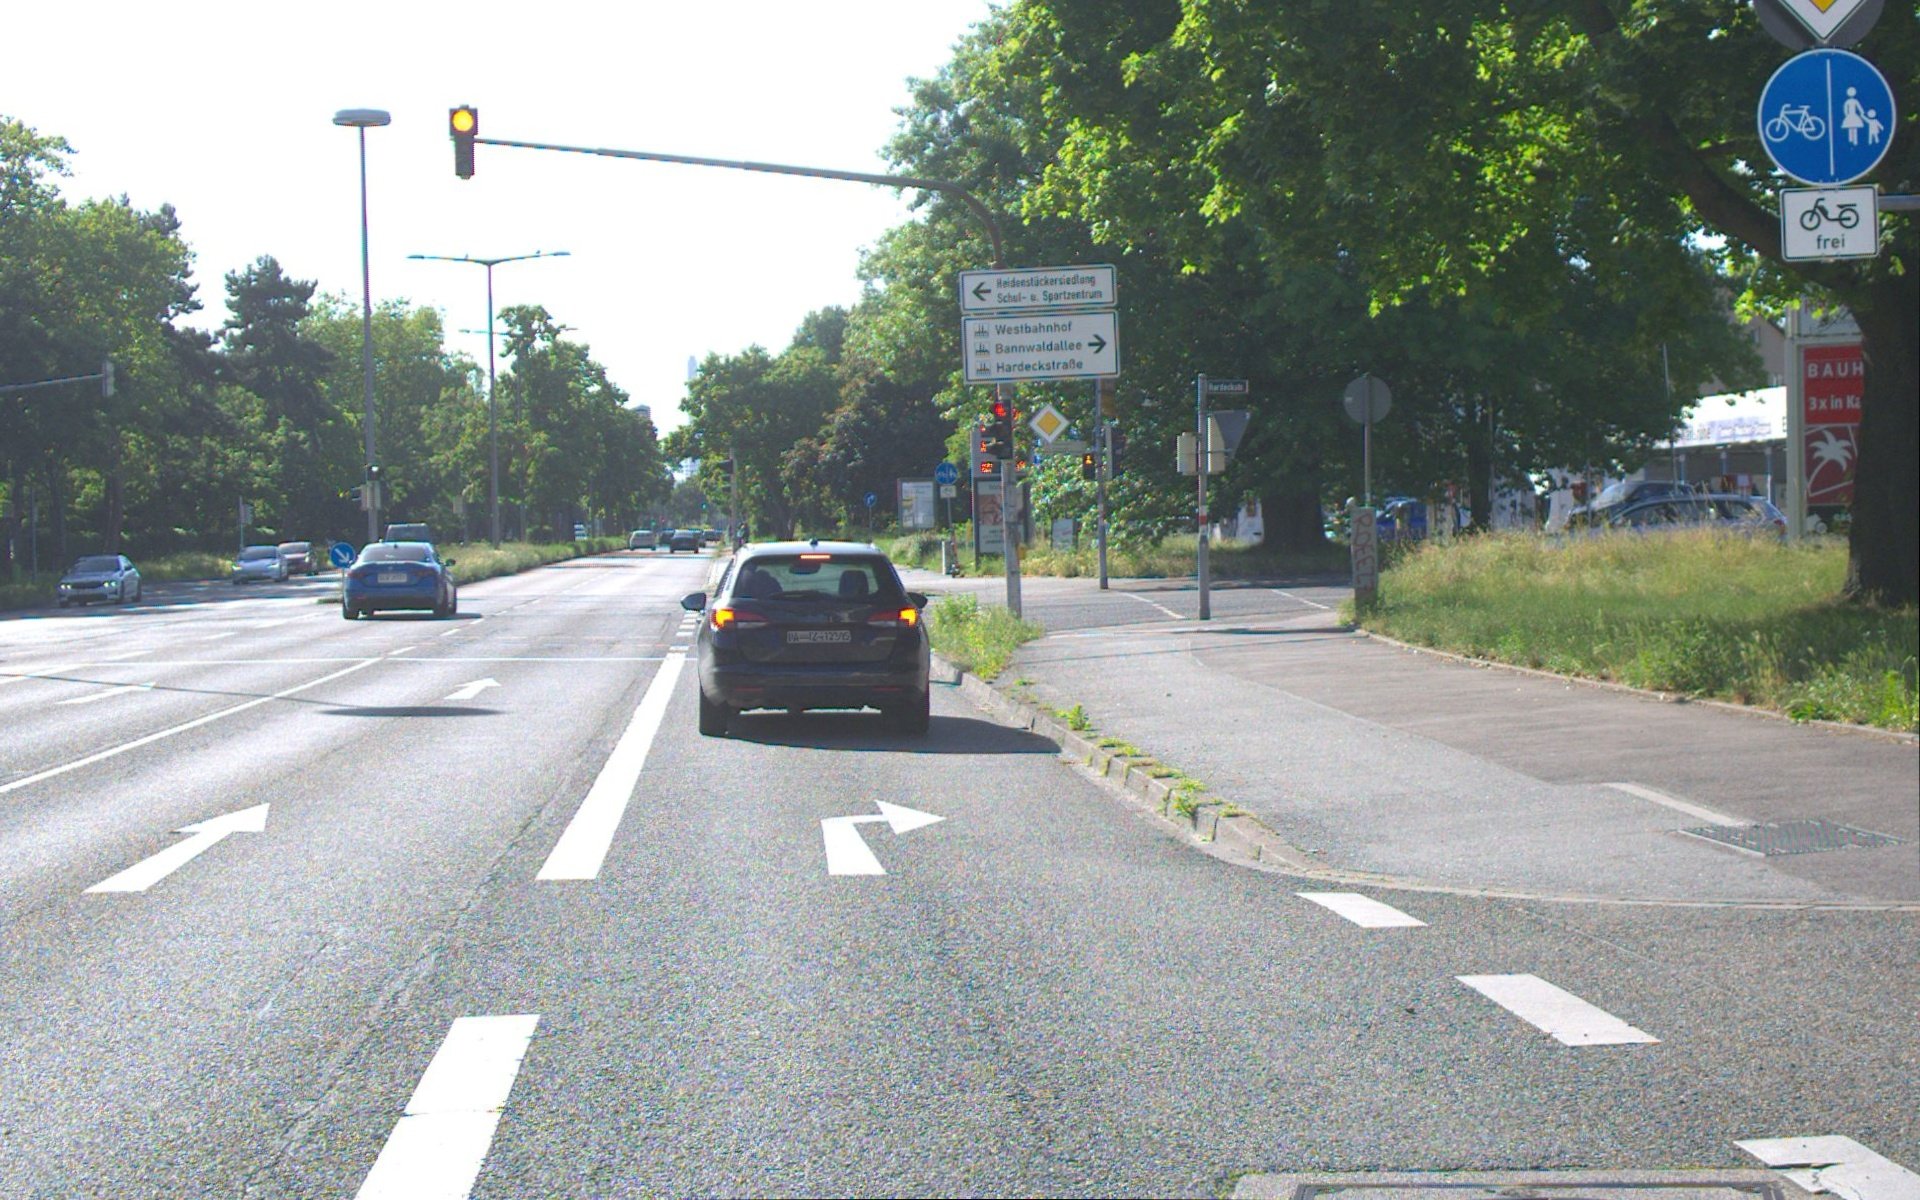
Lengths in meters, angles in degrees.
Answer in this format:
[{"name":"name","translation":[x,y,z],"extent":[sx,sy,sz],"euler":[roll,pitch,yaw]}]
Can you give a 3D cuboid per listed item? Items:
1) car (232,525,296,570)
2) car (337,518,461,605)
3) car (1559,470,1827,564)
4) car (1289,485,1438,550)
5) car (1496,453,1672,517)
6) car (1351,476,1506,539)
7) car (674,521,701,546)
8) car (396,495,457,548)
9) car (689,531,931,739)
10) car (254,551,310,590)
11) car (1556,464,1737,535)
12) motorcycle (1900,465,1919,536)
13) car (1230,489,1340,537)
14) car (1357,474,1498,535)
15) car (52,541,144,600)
[{"name":"car","translation":[-27.089,-2.041,133.871],"extent":[1.864,1.678,4.001],"euler":[1,1,-3]},{"name":"car","translation":[-10.514,-0.730,64.648],"extent":[1.888,1.546,4.001],"euler":[-2,1,-4]},{"name":"car","translation":[13.307,-1.493,62.648],"extent":[4.620,1.568,1.999],"euler":[-1,0,8]},{"name":"car","translation":[10.937,-2.225,93.096],"extent":[3.711,1.679,1.704],"euler":[0,1,-30]},{"name":"car","translation":[15.231,-2.793,83.959],"extent":[3.835,1.477,1.805],"euler":[0,1,-23]},{"name":"car","translation":[12.392,-2.426,90.805],"extent":[3.836,1.558,1.805],"euler":[0,1,-35]},{"name":"car","translation":[-17.753,-4.332,224.024],"extent":[1.732,1.579,3.841],"euler":[1,1,-5]},{"name":"car","translation":[-20.864,-3.072,134.589],"extent":[1.993,2.007,4.001],"euler":[1,1,-4]},{"name":"car","translation":[-1.227,0.231,27.158],"extent":[1.755,1.504,3.809],"euler":[-1,1,-4]},{"name":"car","translation":[-29.834,-1.324,151.408],"extent":[1.864,1.678,4.001],"euler":[1,1,-3]},{"name":"car","translation":[16.310,-2.366,81.669],"extent":[3.835,1.606,1.805],"euler":[0,1,-23]},{"name":"motorcycle","translation":[18.341,-1.770,61.820],"extent":[2.726,1.266,0.834],"euler":[1,1,13]},{"name":"car","translation":[11.926,-3.196,126.286],"extent":[3.711,1.679,1.704],"euler":[1,1,-6]},{"name":"car","translation":[13.443,-2.748,98.961],"extent":[3.711,1.679,1.704],"euler":[1,1,-6]},{"name":"car","translation":[-25.303,-0.861,101.030],"extent":[1.864,1.678,4.261],"euler":[1,1,-3]}]
